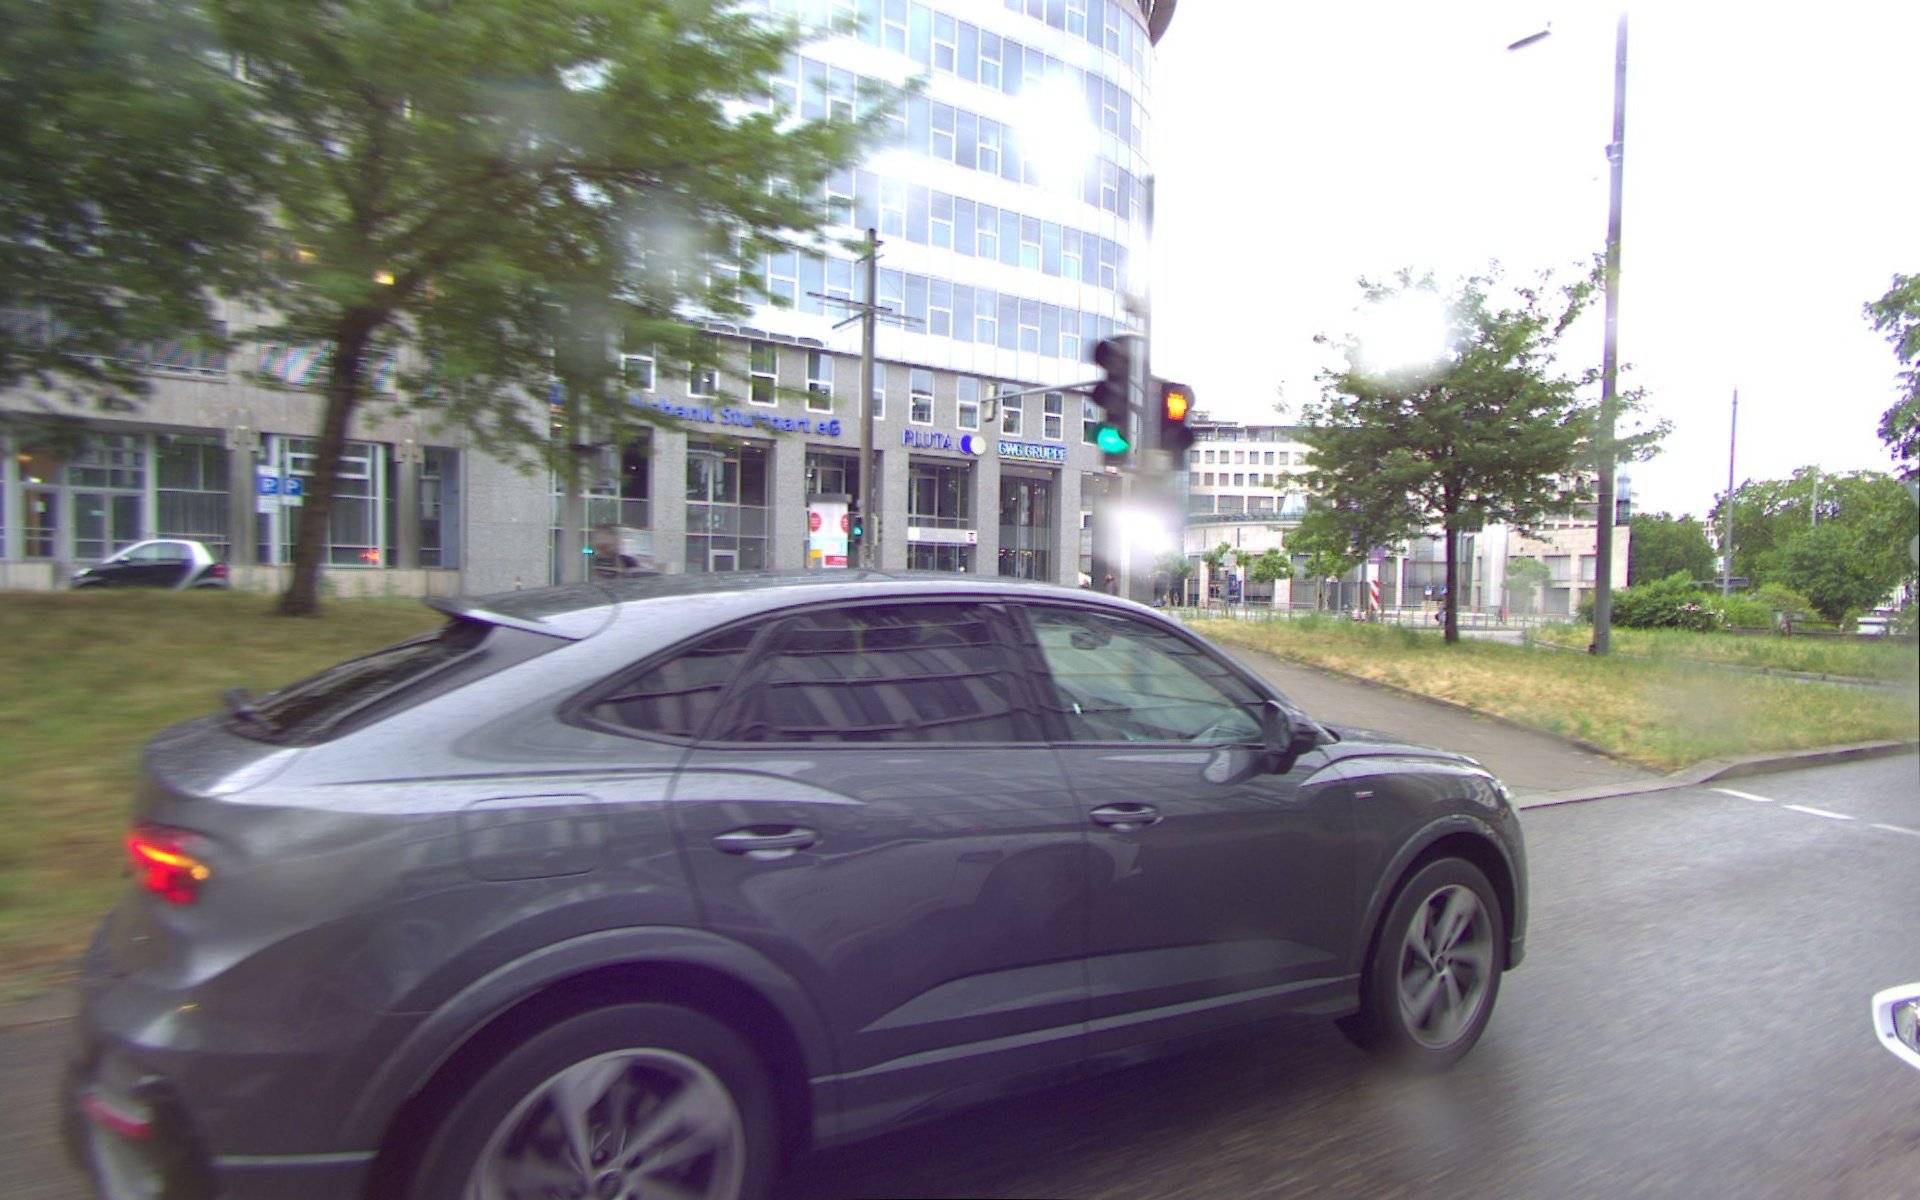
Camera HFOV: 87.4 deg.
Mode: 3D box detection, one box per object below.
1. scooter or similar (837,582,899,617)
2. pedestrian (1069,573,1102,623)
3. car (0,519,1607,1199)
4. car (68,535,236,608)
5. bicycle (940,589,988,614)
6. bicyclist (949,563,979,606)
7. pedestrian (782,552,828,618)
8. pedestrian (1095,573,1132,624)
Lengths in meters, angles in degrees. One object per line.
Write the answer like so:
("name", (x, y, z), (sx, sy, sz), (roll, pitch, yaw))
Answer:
("scooter or similar", (-3.434, -0.011, 37.581), (2.224, 1.229, 0.767), (2, 1, -35))
("pedestrian", (5.234, -0.090, 41.953), (1.028, 2.040, 0.841), (2, 0, -44))
("car", (-0.003, 0.692, 3.283), (4.296, 1.538, 1.851), (2, 1, -31))
("car", (-16.898, -0.593, 21.131), (2.598, 1.404, 1.233), (2, 2, -32))
("bicycle", (0.178, 0.055, 42.320), (1.914, 1.020, 0.739), (1, 0, -34))
("bicyclist", (0.169, -0.629, 42.301), (1.030, 1.764, 0.732), (1, 0, -33))
("pedestrian", (-4.623, -0.436, 29.911), (0.926, 1.906, 0.947), (2, 0, -44))
("pedestrian", (6.296, -0.057, 41.300), (1.028, 2.040, 1.041), (2, 0, -44))
